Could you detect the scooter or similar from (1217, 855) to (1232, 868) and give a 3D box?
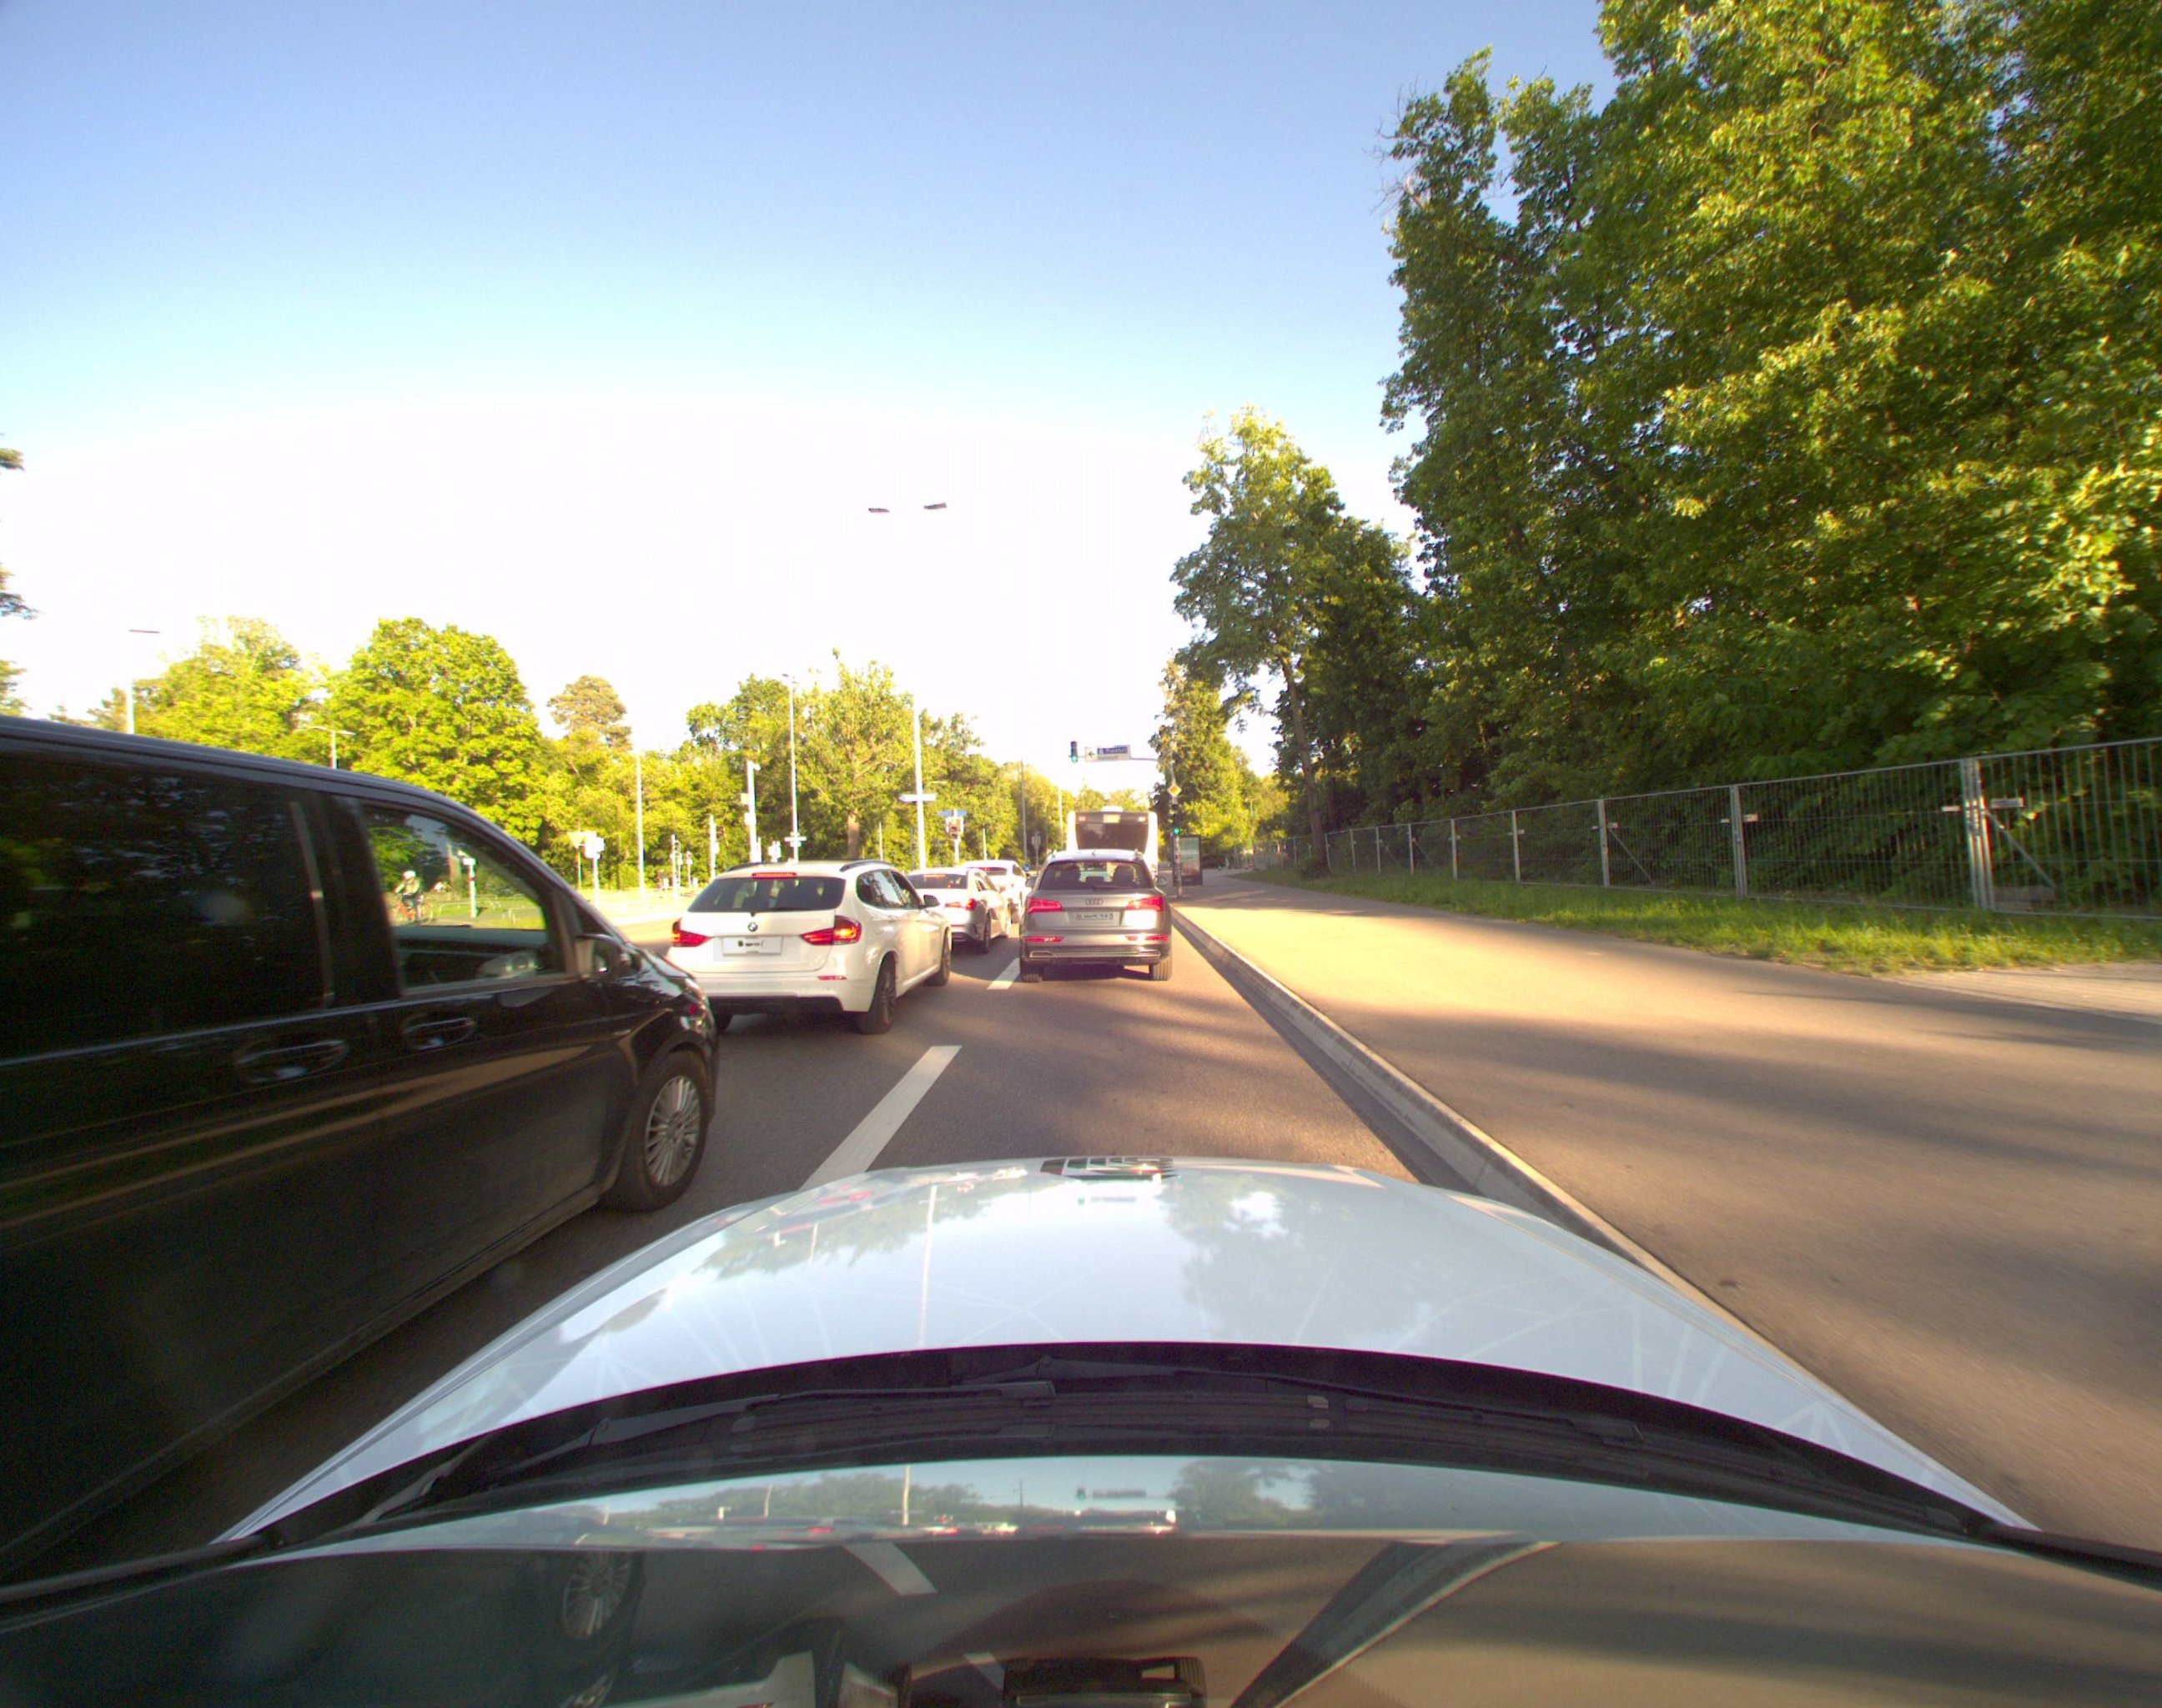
[{"bbox_3d":[12.510,0.640,70.973,1.175,1.174,0.661,0,0,13],"label":"scooter or similar"}]

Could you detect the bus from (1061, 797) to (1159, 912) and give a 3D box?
[{"bbox_3d":[0.952,-0.008,25.179,2.668,3.142,5.886,0,0,3],"label":"bus"}]

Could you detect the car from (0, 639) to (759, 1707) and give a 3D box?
[{"bbox_3d":[-2.754,0.561,1.907,1.900,1.856,4.876,0,1,2],"label":"car"}]

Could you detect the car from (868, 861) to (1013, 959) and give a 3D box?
[{"bbox_3d":[-2.337,0.876,14.680,1.779,1.444,4.279,0,0,1],"label":"car"}]

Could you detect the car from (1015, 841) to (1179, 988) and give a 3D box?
[{"bbox_3d":[0.239,0.671,11.237,1.861,1.664,4.002,0,0,2],"label":"car"}]

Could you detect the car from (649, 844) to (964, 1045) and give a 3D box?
[{"bbox_3d":[-2.485,0.745,8.642,1.712,1.581,4.435,0,-1,2],"label":"car"}]

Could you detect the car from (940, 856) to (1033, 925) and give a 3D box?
[{"bbox_3d":[-2.317,0.850,20.987,1.801,1.572,4.002,0,0,2],"label":"car"}]
